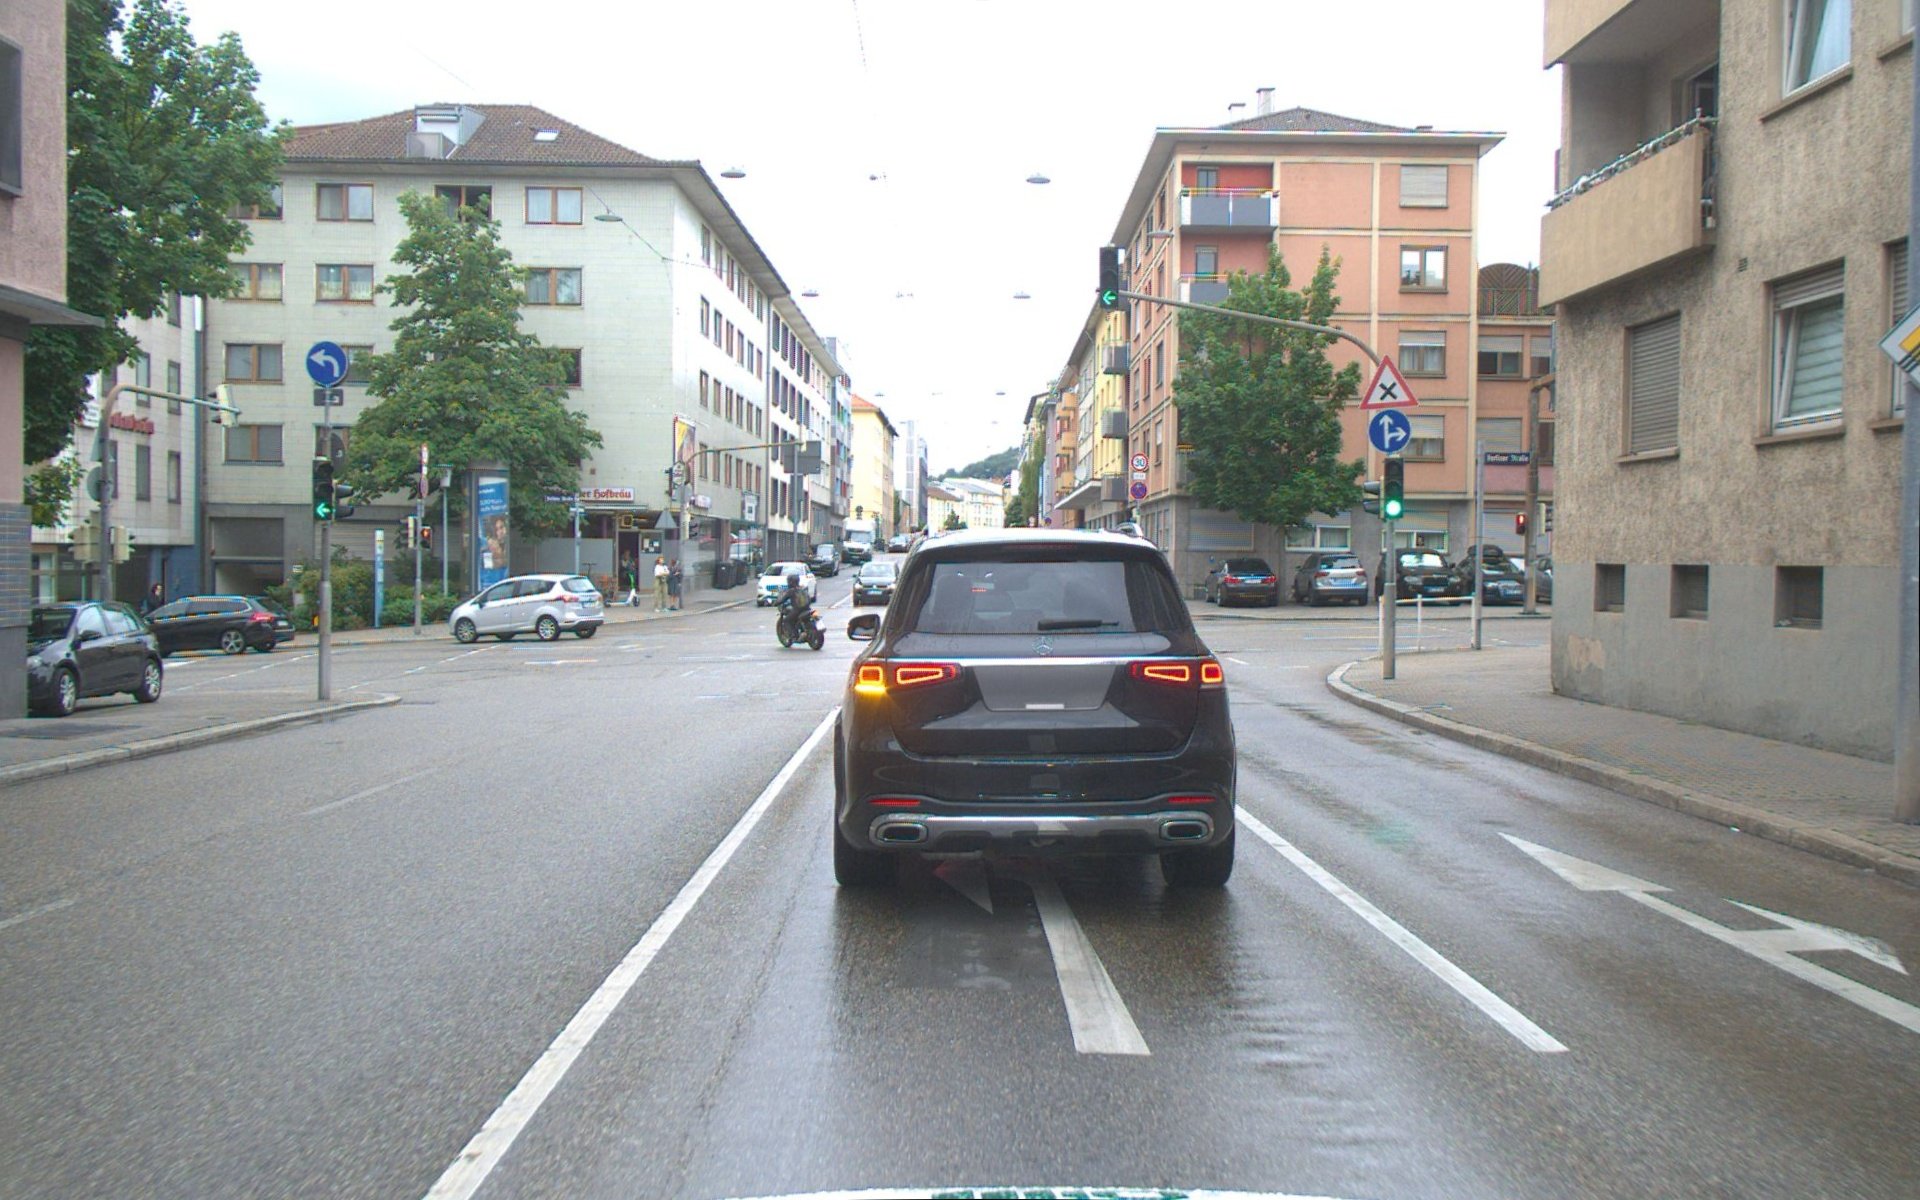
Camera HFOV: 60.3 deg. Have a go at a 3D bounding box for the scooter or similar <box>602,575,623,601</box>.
[{"bbox_3d":[-11.745,-0.412,55.826,0.452,0.857,1.313,1,0,-22],"label":"scooter or similar"}]

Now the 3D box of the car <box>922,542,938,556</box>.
[{"bbox_3d":[-3.741,-6.471,208.641,1.806,1.703,4.001,-1,1,1],"label":"car"}]

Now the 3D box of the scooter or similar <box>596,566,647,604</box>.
[{"bbox_3d":[-11.060,-0.481,54.004,1.539,1.211,0.496,1,0,-30],"label":"scooter or similar"}]

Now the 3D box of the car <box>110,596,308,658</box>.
[{"bbox_3d":[-18.788,0.659,41.480,4.169,1.478,1.724,1,0,4],"label":"car"}]

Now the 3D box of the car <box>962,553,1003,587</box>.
[{"bbox_3d":[1.037,-1.364,75.320,1.806,1.515,4.001,-1,1,1],"label":"car"}]

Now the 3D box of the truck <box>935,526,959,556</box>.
[{"bbox_3d":[-1.775,-8.146,228.785,2.749,3.899,8.147,1,0,2],"label":"truck"}]

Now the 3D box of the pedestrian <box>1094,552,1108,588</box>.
[{"bbox_3d":[6.273,-1.352,73.583,0.509,1.565,0.569,1,4,0],"label":"pedestrian"}]

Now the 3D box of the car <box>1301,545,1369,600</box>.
[{"bbox_3d":[11.995,-0.901,53.089,1.944,1.689,4.004,0,1,10],"label":"car"}]

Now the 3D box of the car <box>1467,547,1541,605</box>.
[{"bbox_3d":[17.276,-0.775,52.421,1.759,1.727,3.998,2,2,25],"label":"car"}]

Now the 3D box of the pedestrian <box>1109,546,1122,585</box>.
[{"bbox_3d":[6.589,-1.467,70.027,0.469,1.593,0.558,1,4,0],"label":"pedestrian"}]

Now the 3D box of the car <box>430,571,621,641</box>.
[{"bbox_3d":[-10.764,0.143,40.981,4.162,1.627,2.028,-1,1,21],"label":"car"}]

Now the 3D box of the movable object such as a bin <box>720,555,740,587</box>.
[{"bbox_3d":[-9.624,-1.210,69.195,0.683,1.338,0.782,1,0,-1],"label":"movable object such as a bin"}]

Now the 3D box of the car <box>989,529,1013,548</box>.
[{"bbox_3d":[3.753,-5.578,150.607,1.974,1.590,4.002,1,0,3],"label":"car"}]

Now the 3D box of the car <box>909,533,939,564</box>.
[{"bbox_3d":[-2.758,-3.924,126.506,2.022,2.280,4.621,-1,1,1],"label":"car"}]

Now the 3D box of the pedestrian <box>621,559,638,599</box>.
[{"bbox_3d":[-12.035,-0.773,60.264,0.508,1.424,0.578,1,0,-3],"label":"pedestrian"}]

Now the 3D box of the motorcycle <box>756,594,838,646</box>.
[{"bbox_3d":[-3.422,0.393,34.571,0.853,1.023,2.228,-1,1,-31],"label":"motorcycle"}]

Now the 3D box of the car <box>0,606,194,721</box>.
[{"bbox_3d":[-12.274,0.828,22.664,1.697,1.383,3.999,-3,0,-1],"label":"car"}]

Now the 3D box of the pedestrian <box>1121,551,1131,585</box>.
[{"bbox_3d":[7.039,-1.361,70.117,0.356,1.422,0.370,1,4,0],"label":"pedestrian"}]

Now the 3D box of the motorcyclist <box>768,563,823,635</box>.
[{"bbox_3d":[-3.432,-0.024,34.524,0.895,1.478,0.739,-1,1,-31],"label":"motorcyclist"}]

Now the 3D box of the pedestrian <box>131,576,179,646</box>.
[{"bbox_3d":[-22.293,0.292,45.783,0.897,1.848,0.754,1,4,28],"label":"pedestrian"}]

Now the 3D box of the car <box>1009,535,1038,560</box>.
[{"bbox_3d":[4.603,-3.773,118.778,1.974,1.590,5.157,1,0,3],"label":"car"}]

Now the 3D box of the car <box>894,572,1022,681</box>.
[{"bbox_3d":[-0.119,0.364,27.070,1.794,1.487,4.377,-2,2,-3],"label":"car"}]

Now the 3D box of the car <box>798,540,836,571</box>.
[{"bbox_3d":[-7.730,-2.398,89.768,1.688,1.631,4.000,-1,1,0],"label":"car"}]

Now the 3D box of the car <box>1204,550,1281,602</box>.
[{"bbox_3d":[9.106,-0.804,53.586,1.805,1.581,4.798,-1,1,2],"label":"car"}]

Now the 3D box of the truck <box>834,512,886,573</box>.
[{"bbox_3d":[-6.874,-3.927,114.514,2.749,3.899,8.147,1,0,2],"label":"truck"}]

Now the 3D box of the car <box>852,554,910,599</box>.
[{"bbox_3d":[-2.793,-0.866,59.472,1.806,1.515,4.001,-1,1,1],"label":"car"}]

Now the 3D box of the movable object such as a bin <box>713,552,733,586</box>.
[{"bbox_3d":[-9.631,-1.262,67.225,0.683,1.338,0.782,1,0,-1],"label":"movable object such as a bin"}]

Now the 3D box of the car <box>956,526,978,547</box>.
[{"bbox_3d":[0.634,-5.408,142.020,1.806,1.703,4.001,-1,1,1],"label":"car"}]

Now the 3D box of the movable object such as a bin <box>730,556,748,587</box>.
[{"bbox_3d":[-9.602,-1.242,71.933,0.683,1.338,0.782,1,0,-1],"label":"movable object such as a bin"}]

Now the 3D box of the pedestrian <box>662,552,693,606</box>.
[{"bbox_3d":[-9.131,-0.682,53.371,0.702,1.675,0.750,-1,4,-36],"label":"pedestrian"}]

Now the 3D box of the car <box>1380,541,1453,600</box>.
[{"bbox_3d":[14.506,-0.951,52.714,1.944,1.749,4.004,-1,1,11],"label":"car"}]

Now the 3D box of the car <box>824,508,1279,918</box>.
[{"bbox_3d":[0.319,0.476,9.582,1.980,1.770,4.745,0,0,-2],"label":"car"}]

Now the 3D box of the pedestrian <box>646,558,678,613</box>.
[{"bbox_3d":[-9.460,-0.470,52.503,0.702,1.675,0.750,-1,4,-36],"label":"pedestrian"}]

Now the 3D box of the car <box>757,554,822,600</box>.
[{"bbox_3d":[-6.021,-0.830,58.741,1.806,1.539,4.001,-1,1,1],"label":"car"}]
